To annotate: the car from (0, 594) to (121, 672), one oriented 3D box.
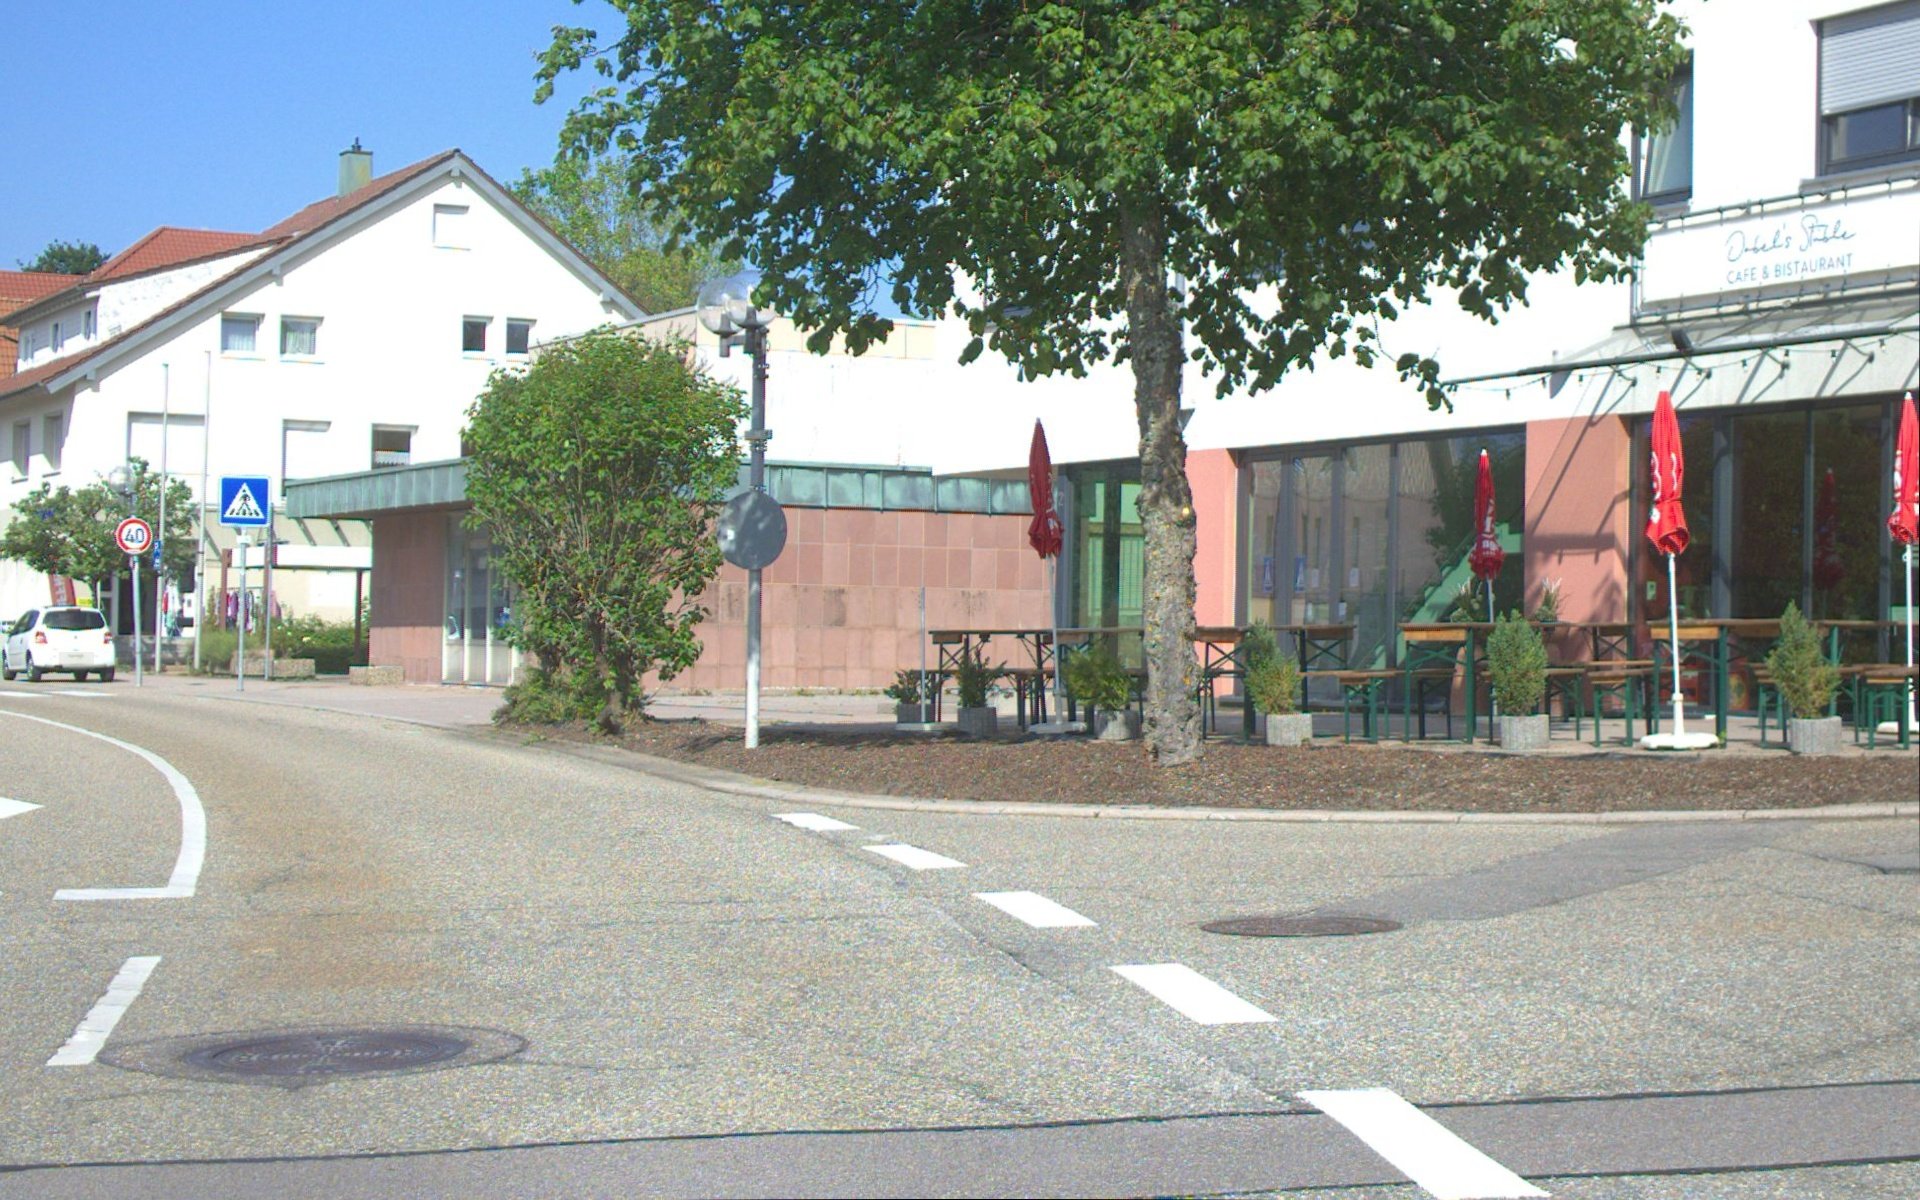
[{"bbox_3d":[-17.599,0.634,67.133,1.760,1.418,3.634,-2,0,-23],"label":"car"}]
